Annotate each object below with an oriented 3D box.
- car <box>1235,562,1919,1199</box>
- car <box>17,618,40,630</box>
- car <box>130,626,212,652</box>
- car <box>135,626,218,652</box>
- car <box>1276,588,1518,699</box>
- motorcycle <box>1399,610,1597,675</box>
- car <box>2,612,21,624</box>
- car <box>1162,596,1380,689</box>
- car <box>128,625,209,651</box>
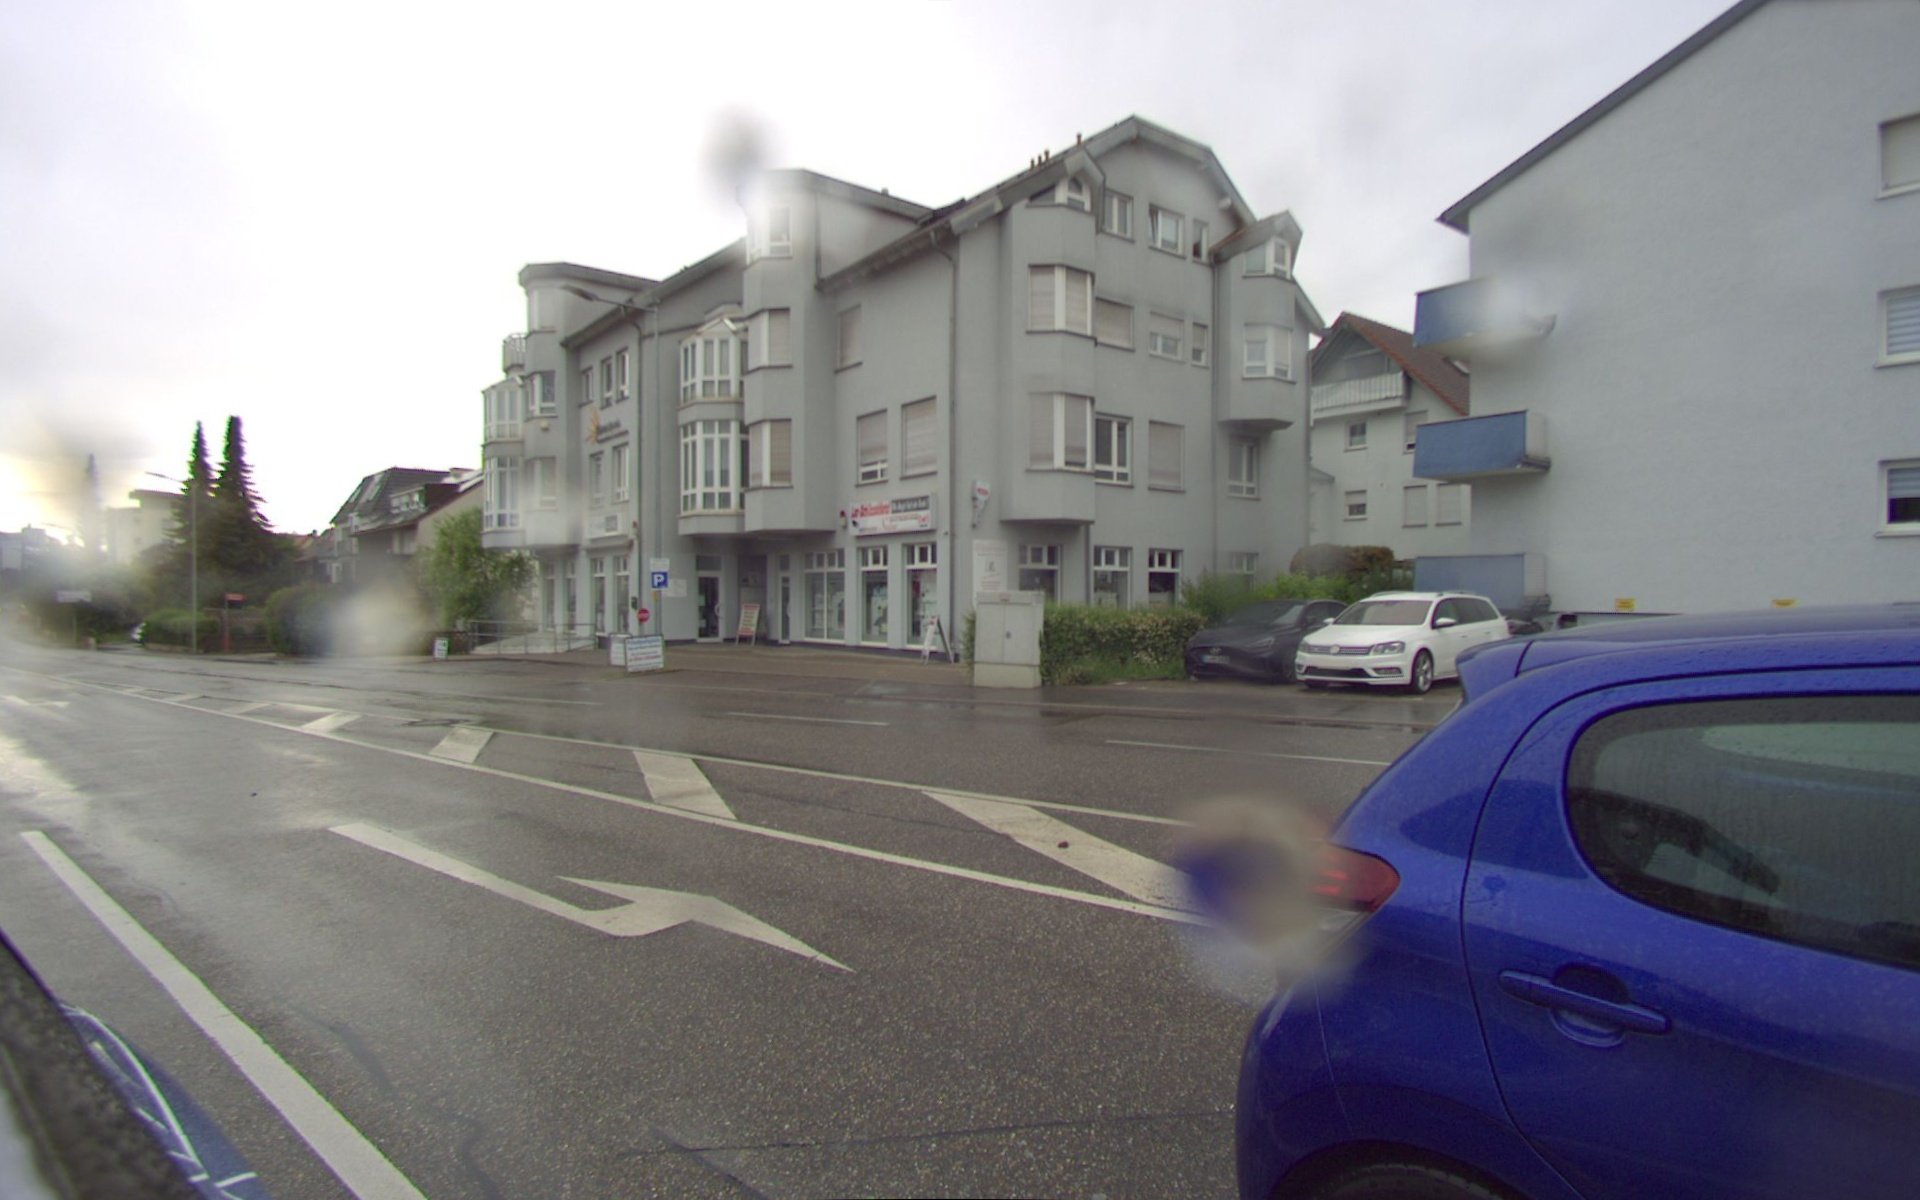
[{"bbox_3d":[2.226,0.635,1.253,3.269,1.421,1.562,-2,0,42],"label":"car"},{"bbox_3d":[-124.323,3.204,135.125,1.968,1.628,4.008,0,-1,-38],"label":"car"},{"bbox_3d":[-51.368,2.531,65.932,4.096,1.453,1.892,-2,0,-42],"label":"car"},{"bbox_3d":[-49.634,2.461,64.139,3.978,1.453,1.814,-2,0,-44],"label":"car"},{"bbox_3d":[6.839,0.594,15.638,4.169,1.485,1.906,0,-1,-43],"label":"car"},{"bbox_3d":[9.761,0.784,18.545,3.112,1.108,0.869,-2,-1,25],"label":"motorcycle"},{"bbox_3d":[-148.777,2.832,158.776,1.824,1.777,4.129,0,-1,-39],"label":"car"},{"bbox_3d":[5.463,0.662,17.558,3.940,1.421,1.906,0,-1,-43],"label":"car"},{"bbox_3d":[-53.163,2.524,68.011,4.058,1.557,2.002,-2,0,-44],"label":"car"}]
